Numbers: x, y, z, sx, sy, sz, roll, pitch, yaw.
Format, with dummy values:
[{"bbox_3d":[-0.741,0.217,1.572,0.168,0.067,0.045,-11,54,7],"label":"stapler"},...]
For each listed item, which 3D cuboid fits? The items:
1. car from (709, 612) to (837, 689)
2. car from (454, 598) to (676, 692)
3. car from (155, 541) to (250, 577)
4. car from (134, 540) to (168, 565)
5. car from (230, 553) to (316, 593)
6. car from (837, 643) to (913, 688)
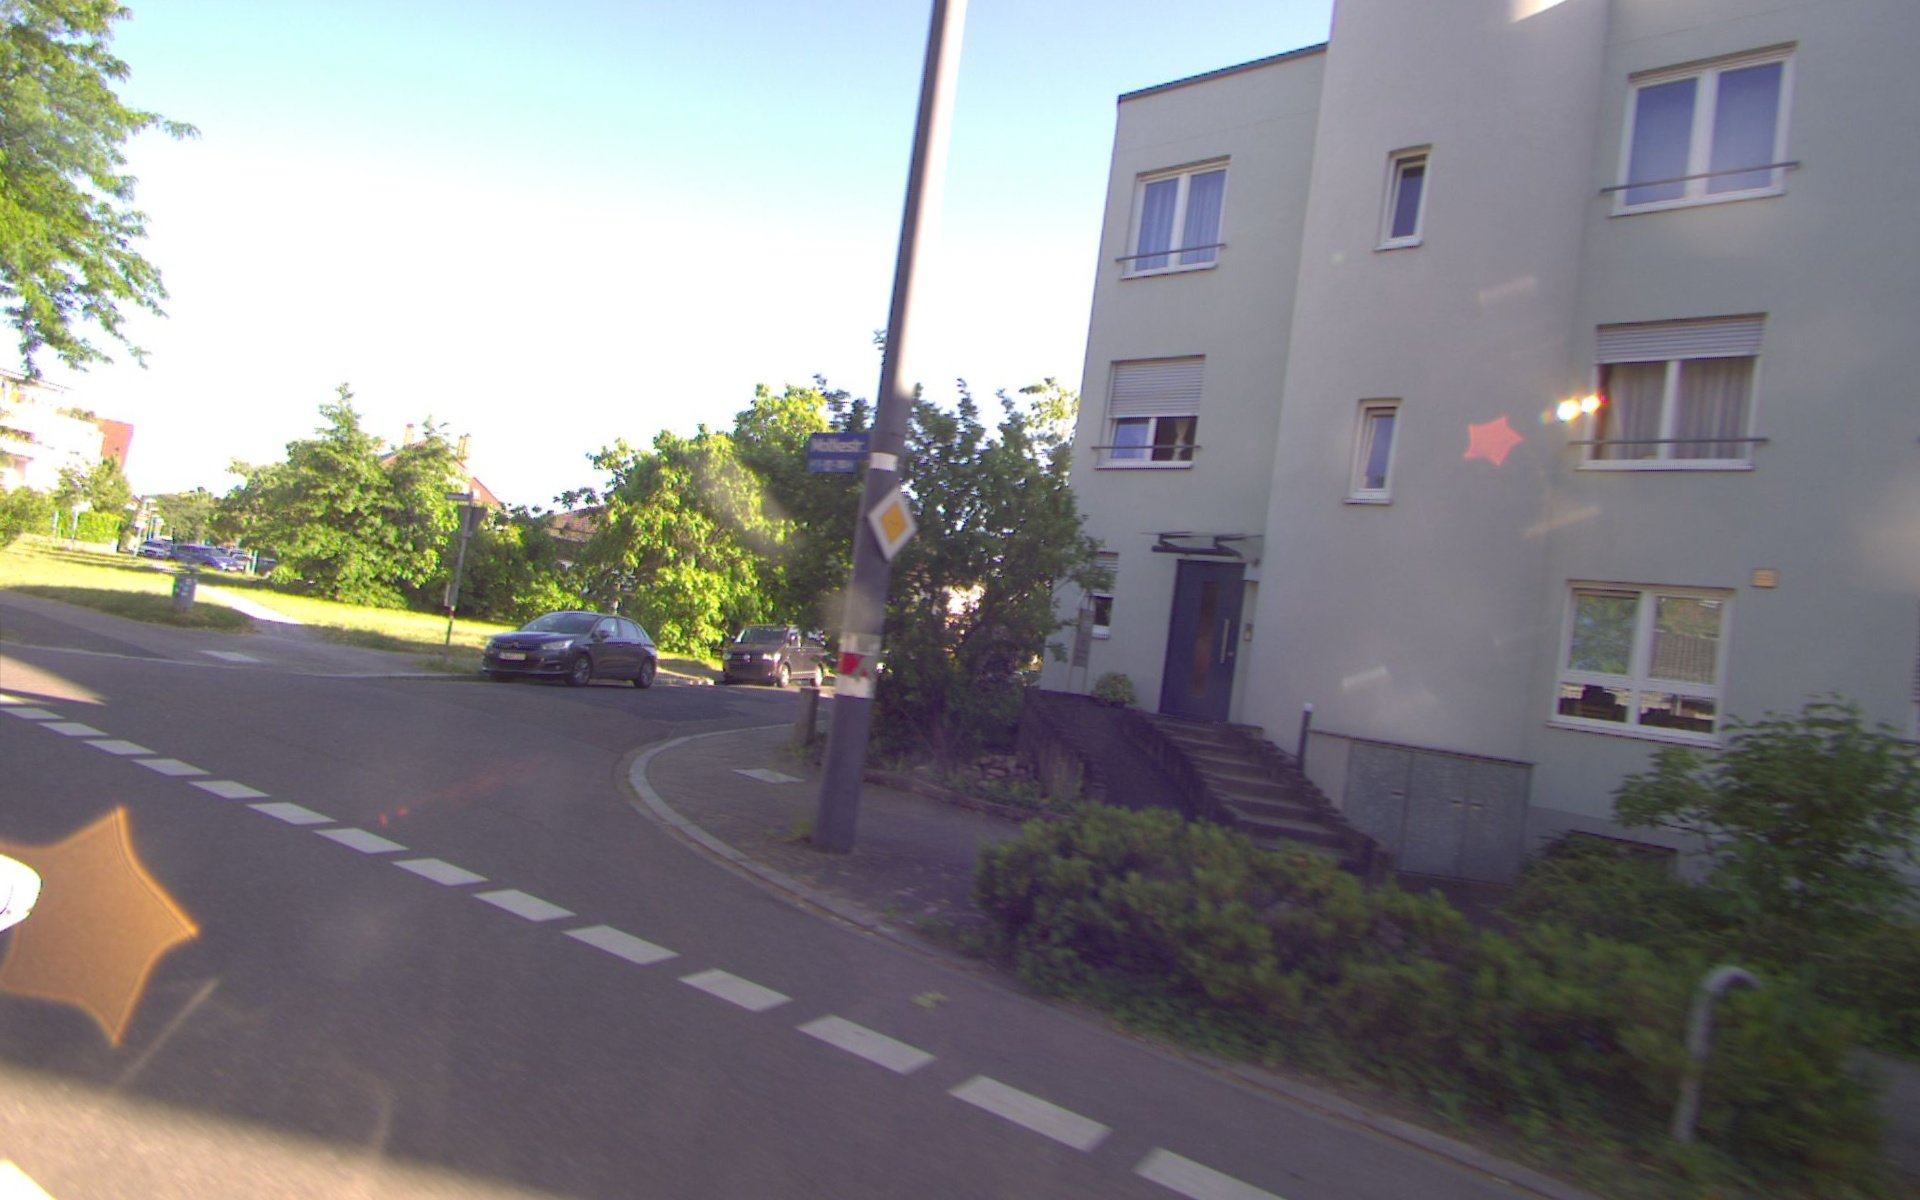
[{"bbox_3d":[-5.734,1.668,31.714,2.060,1.904,5.226,8,-4,10],"label":"car"},{"bbox_3d":[-7.607,0.959,19.967,1.970,1.506,4.471,4,-4,10],"label":"car"},{"bbox_3d":[-48.431,-2.590,64.388,4.665,1.487,2.069,8,-3,9],"label":"car"},{"bbox_3d":[-68.318,-3.977,84.961,2.038,1.726,4.243,10,-4,-39],"label":"car"},{"bbox_3d":[-42.461,-1.642,62.211,3.924,1.799,2.004,7,-3,12],"label":"car"},{"bbox_3d":[-3.672,2.897,44.194,1.962,1.610,4.237,7,-3,13],"label":"car"}]
